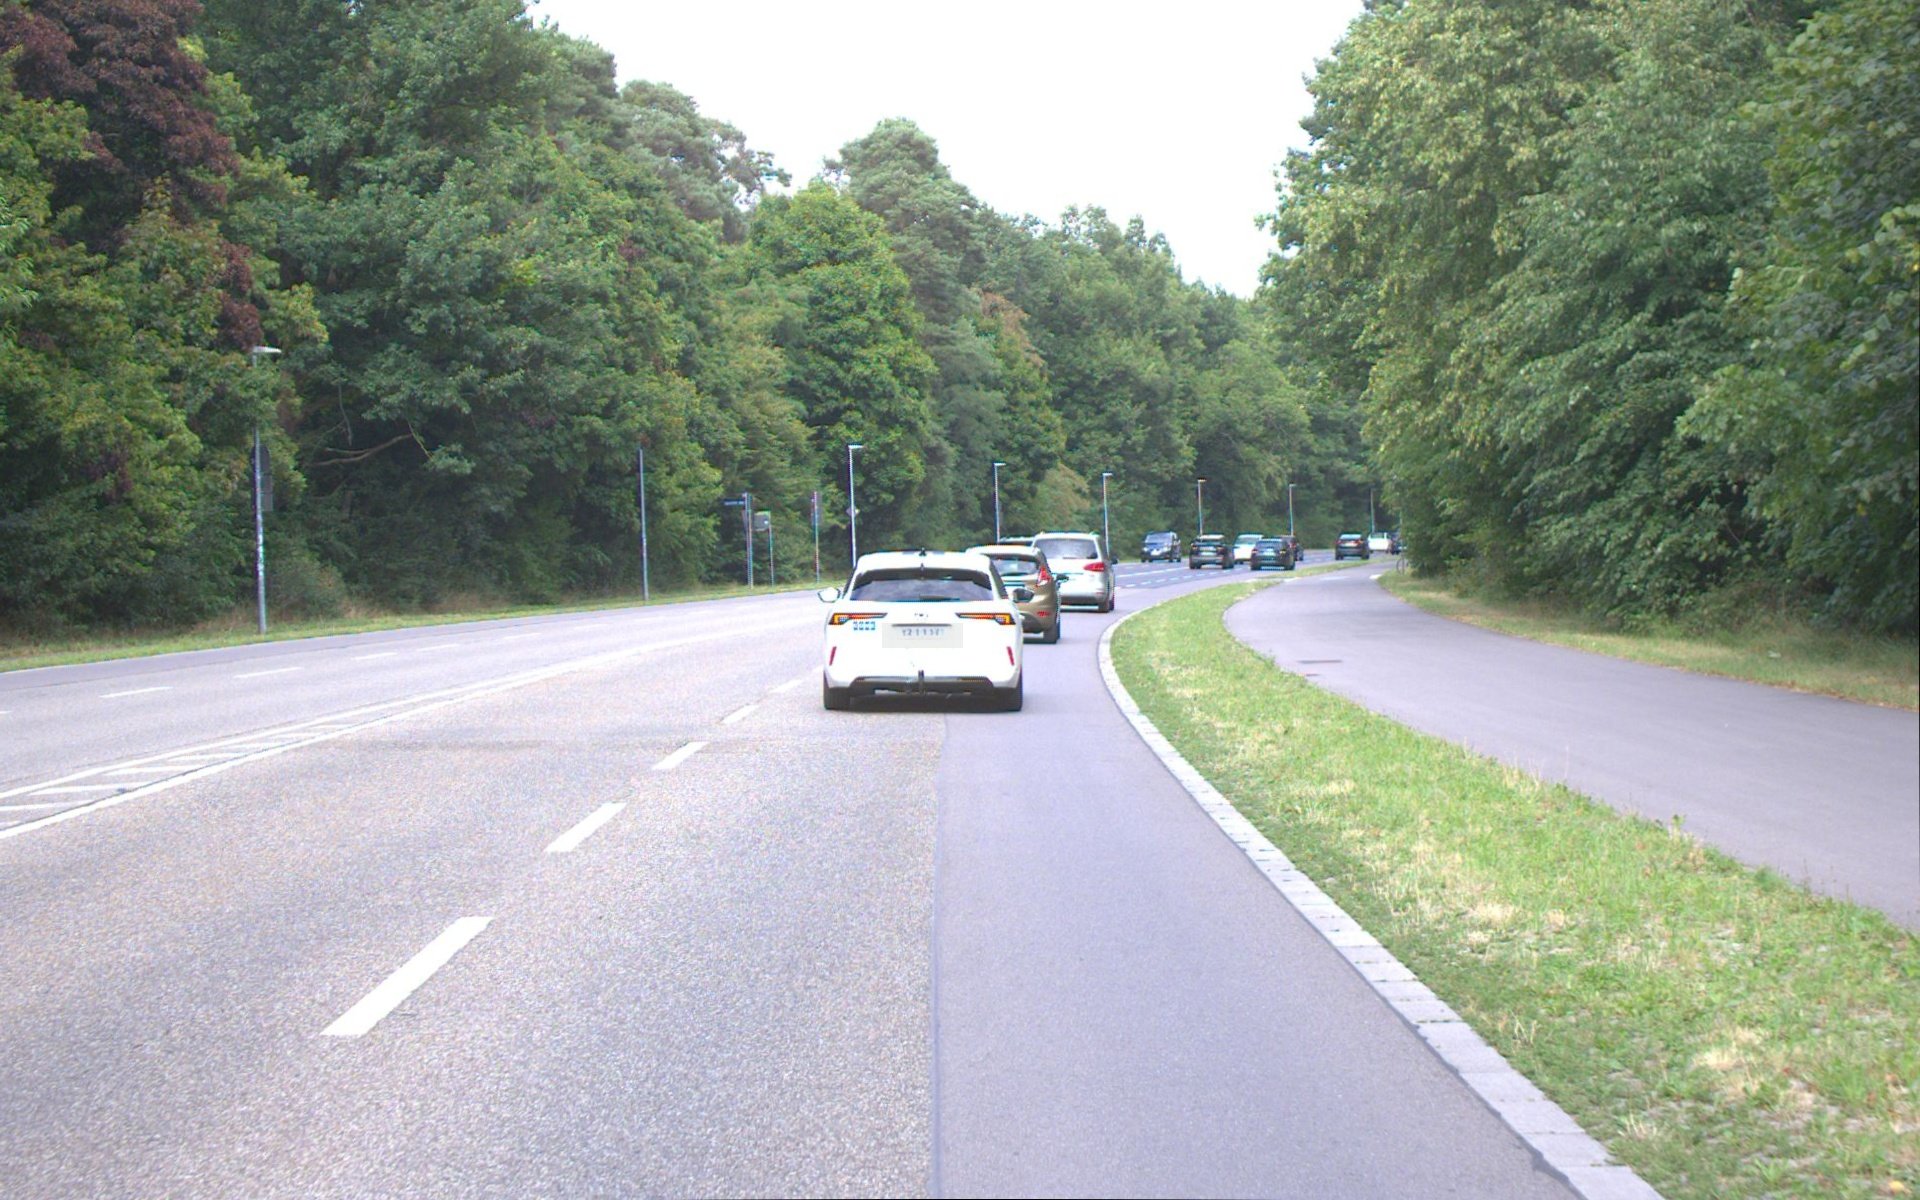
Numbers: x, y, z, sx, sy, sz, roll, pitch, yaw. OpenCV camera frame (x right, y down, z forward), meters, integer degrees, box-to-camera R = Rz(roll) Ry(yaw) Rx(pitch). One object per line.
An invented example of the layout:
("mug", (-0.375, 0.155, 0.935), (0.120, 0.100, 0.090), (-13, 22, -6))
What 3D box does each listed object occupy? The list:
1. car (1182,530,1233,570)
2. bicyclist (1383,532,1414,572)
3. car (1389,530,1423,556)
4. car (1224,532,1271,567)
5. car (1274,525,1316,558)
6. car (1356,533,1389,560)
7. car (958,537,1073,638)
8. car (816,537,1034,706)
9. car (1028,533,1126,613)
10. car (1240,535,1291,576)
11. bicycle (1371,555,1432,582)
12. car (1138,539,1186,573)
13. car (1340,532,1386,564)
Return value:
("car", (11.831, -2.379, 164.141), (1.994, 1.777, 3.998), (2, 0, 10))
("bicyclist", (16.160, -1.783, 126.684), (0.900, 1.465, 0.709), (0, 1, 36))
("car", (30.408, -3.888, 234.149), (1.994, 1.700, 3.998), (0, 1, 12))
("car", (15.212, -2.665, 181.600), (1.994, 1.777, 3.998), (2, 0, 11))
("car", (19.399, -3.375, 198.821), (1.994, 1.777, 3.998), (2, 0, 11))
("car", (29.608, -3.842, 246.463), (1.889, 1.809, 3.998), (2, 0, 13))
("car", (0.832, -0.197, 51.926), (1.635, 1.415, 4.000), (2, 0, 1))
("car", (-0.254, 0.173, 31.832), (1.836, 1.405, 4.490), (2, 0, 1))
("car", (2.514, -0.575, 73.530), (1.994, 1.601, 4.000), (2, 0, 2))
("car", (14.288, -2.069, 160.745), (1.994, 1.777, 3.998), (2, 0, 10))
("bicycle", (16.260, -1.158, 126.641), (2.178, 0.991, 0.709), (0, 1, 36))
("car", (11.356, -2.461, 193.144), (1.994, 1.785, 4.745), (2, 0, 11))
("car", (24.085, -3.093, 205.426), (1.995, 1.777, 3.997), (2, 0, 17))
